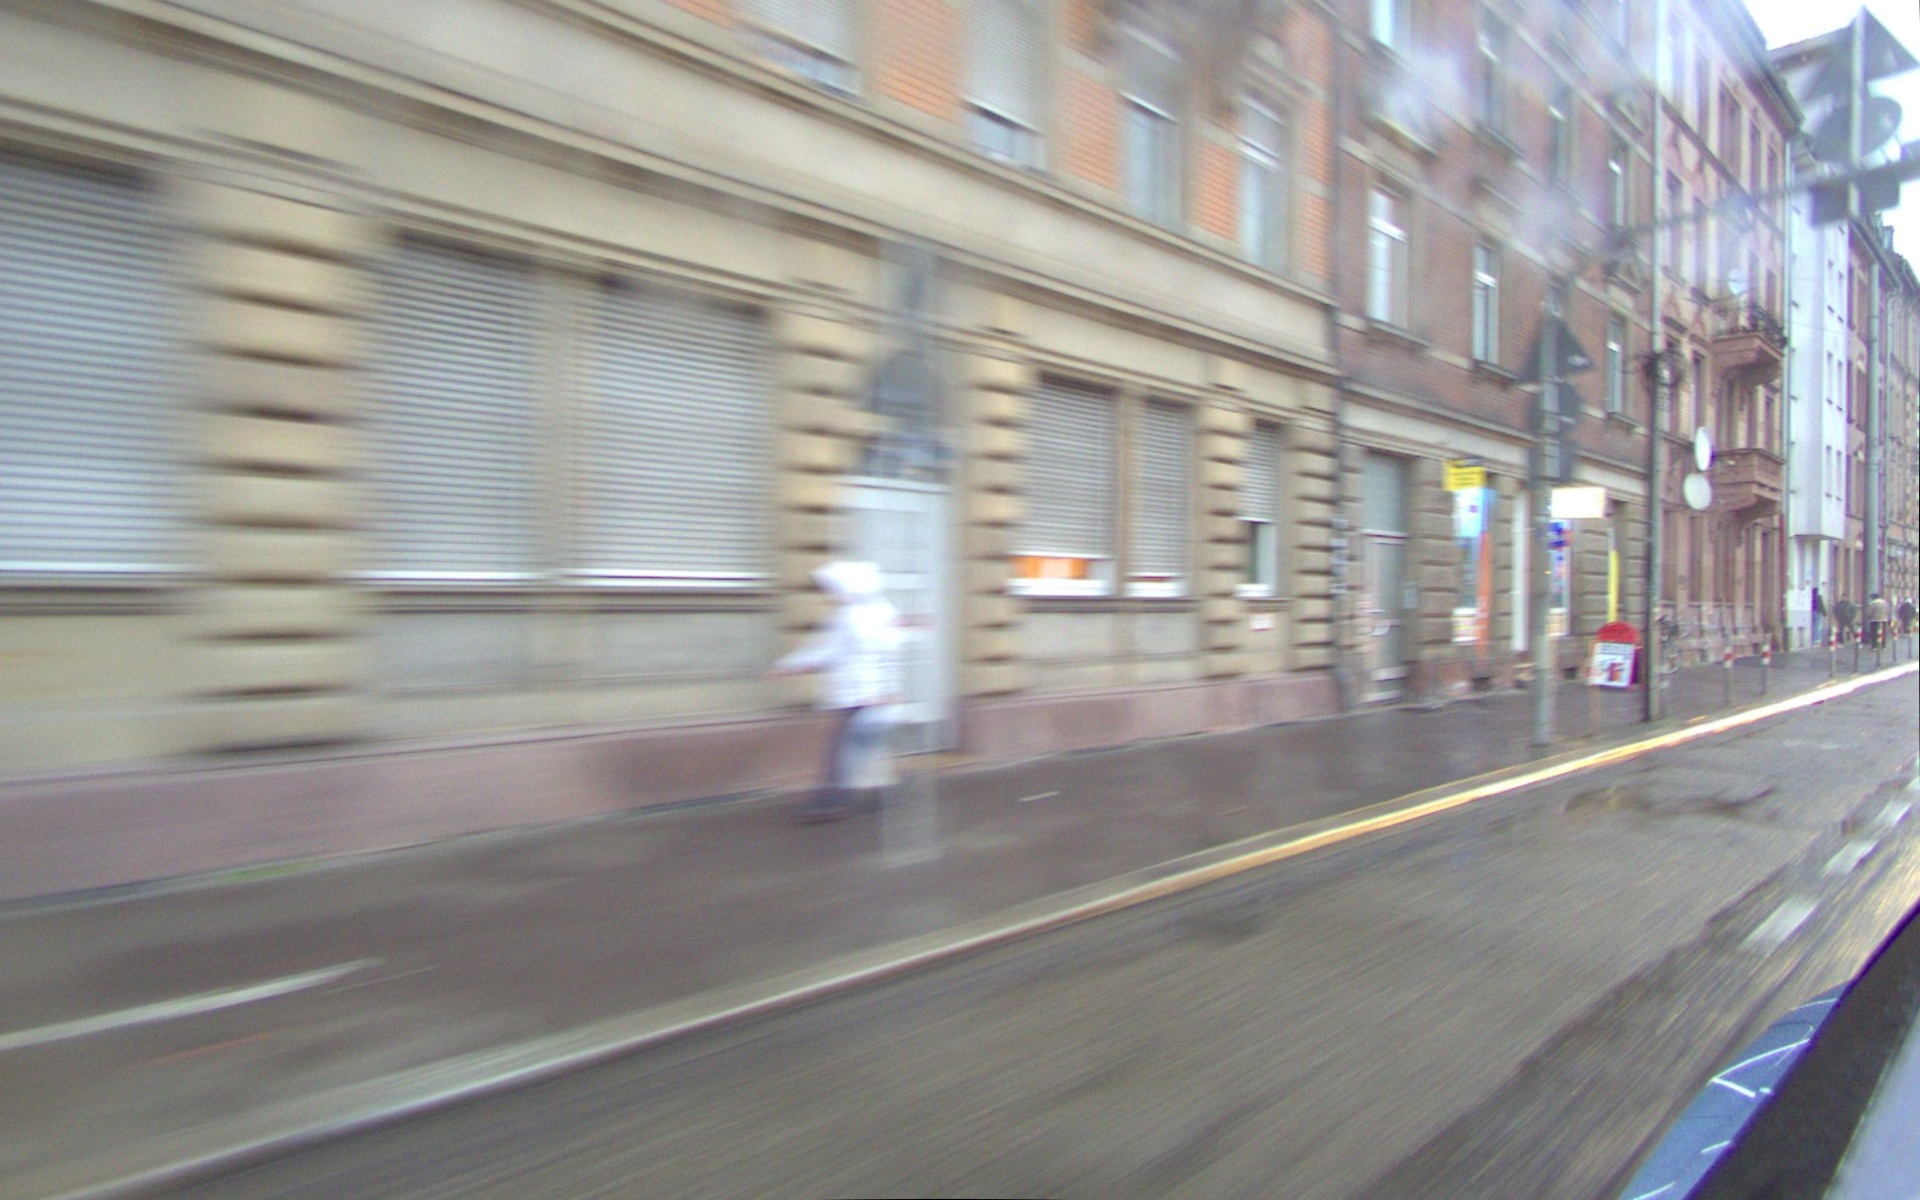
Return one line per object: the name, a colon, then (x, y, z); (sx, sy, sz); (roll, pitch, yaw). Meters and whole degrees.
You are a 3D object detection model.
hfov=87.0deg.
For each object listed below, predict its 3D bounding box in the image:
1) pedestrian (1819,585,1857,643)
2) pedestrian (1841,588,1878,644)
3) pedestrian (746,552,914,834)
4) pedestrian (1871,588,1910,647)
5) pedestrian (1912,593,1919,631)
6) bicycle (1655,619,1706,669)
pedestrian: (27.394, 0.415, 31.563); (0.661, 1.766, 0.777); (0, 1, -40)
pedestrian: (29.185, 0.512, 32.824); (0.661, 1.766, 0.777); (0, 1, -40)
pedestrian: (-0.824, 0.525, 6.346); (0.728, 1.617, 0.788); (1, 0, -39)
pedestrian: (28.832, 0.525, 31.356); (0.661, 1.766, 0.777); (0, 1, -40)
pedestrian: (40.095, 0.512, 42.160); (0.632, 1.568, 0.699); (0, 0, 44)
bicycle: (14.436, 0.857, 20.268); (1.834, 0.922, 0.398); (0, 1, -41)
